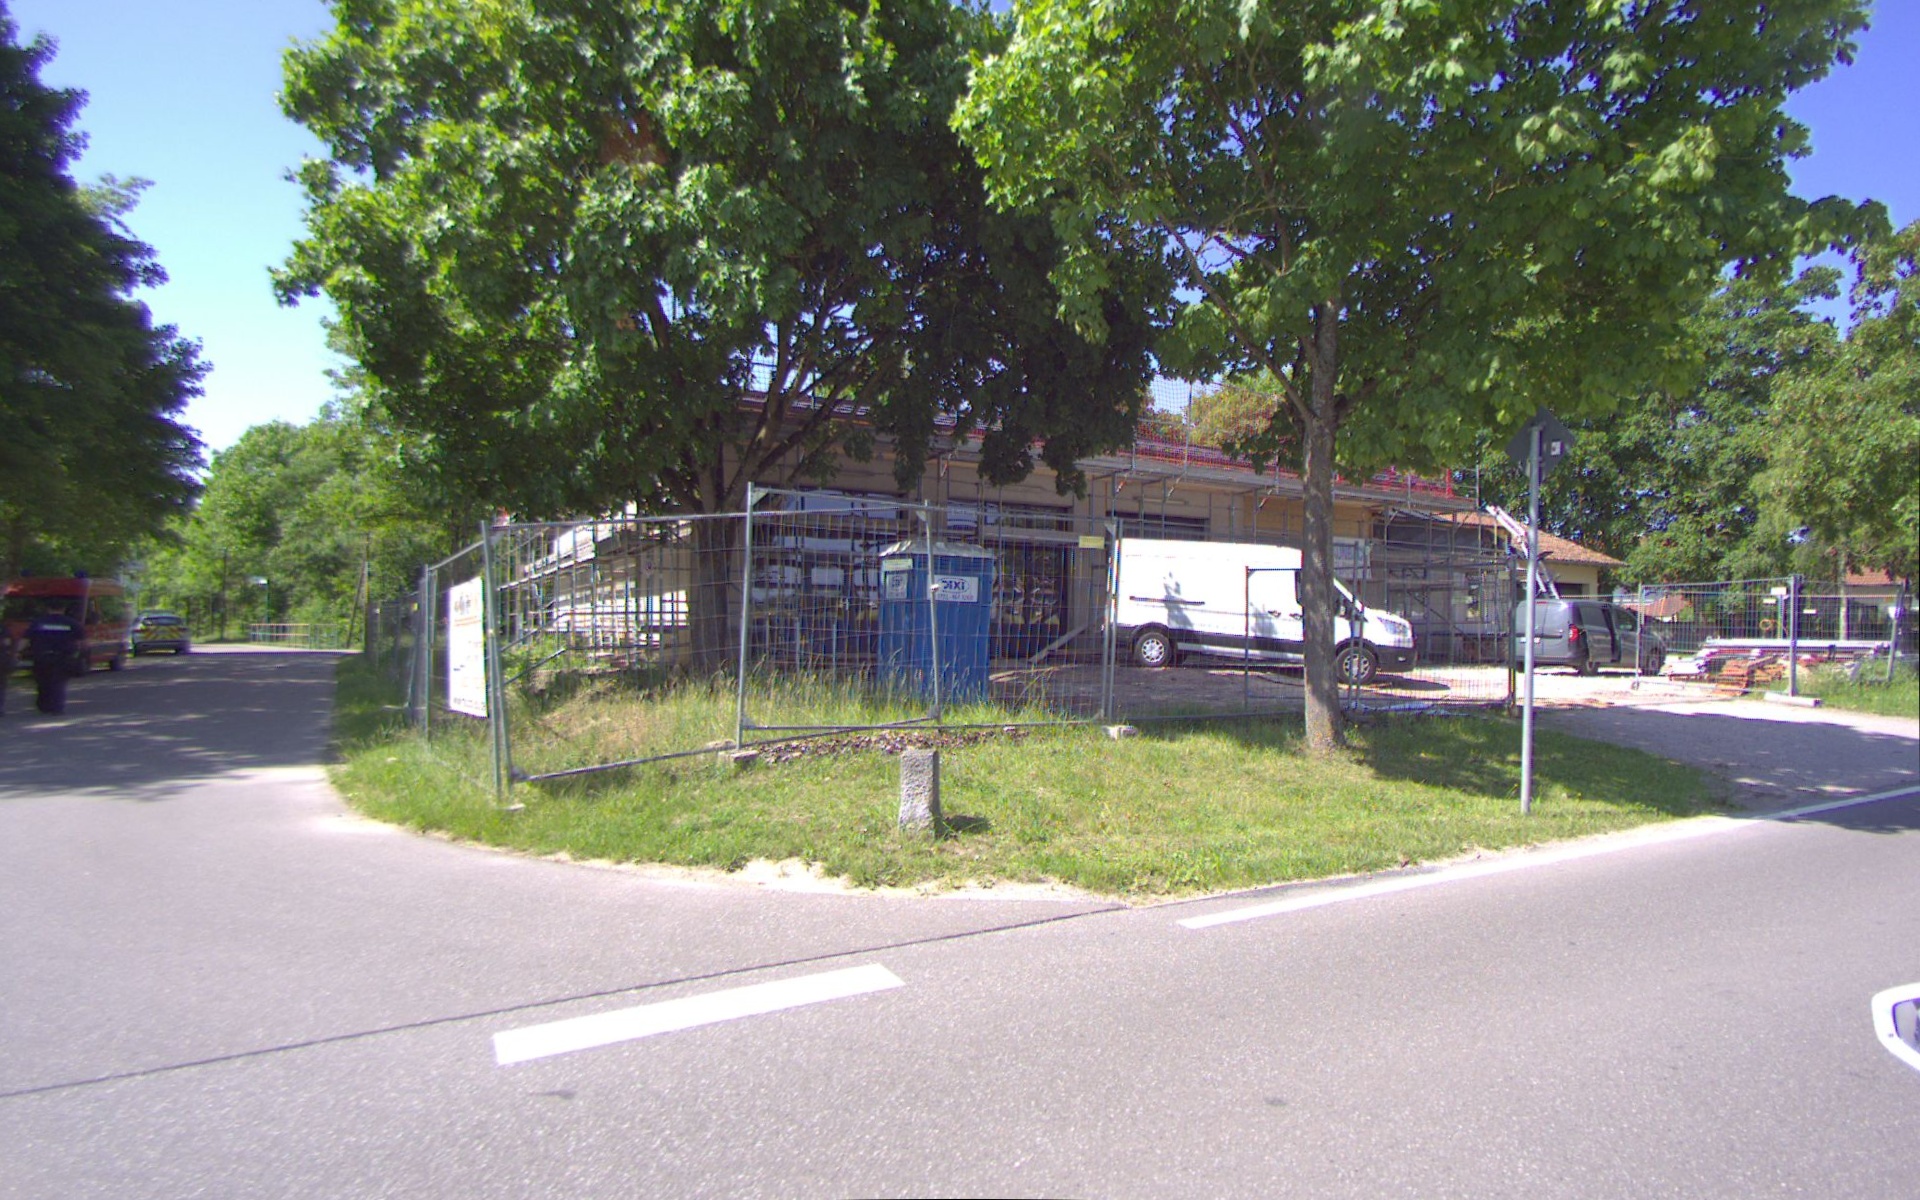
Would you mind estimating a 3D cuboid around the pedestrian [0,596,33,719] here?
[{"bbox_3d":[-14.094,0.843,14.783,0.581,1.774,0.599,1,-2,-39],"label":"pedestrian"}]

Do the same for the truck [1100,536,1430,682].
[{"bbox_3d":[5.855,0.106,19.495,5.819,2.516,1.999,2,-1,24],"label":"truck"}]

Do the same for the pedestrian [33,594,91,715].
[{"bbox_3d":[-13.518,0.813,15.128,0.581,1.774,0.599,1,-2,-39],"label":"pedestrian"}]

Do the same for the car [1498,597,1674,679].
[{"bbox_3d":[15.488,0.906,24.819,4.277,1.862,1.961,1,-1,-30],"label":"car"}]

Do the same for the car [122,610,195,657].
[{"bbox_3d":[-31.906,1.336,39.968,3.695,1.773,1.658,-2,-2,41],"label":"car"}]

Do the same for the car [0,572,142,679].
[{"bbox_3d":[-24.234,0.719,27.293,2.097,2.611,6.031,1,-2,-30],"label":"car"}]
